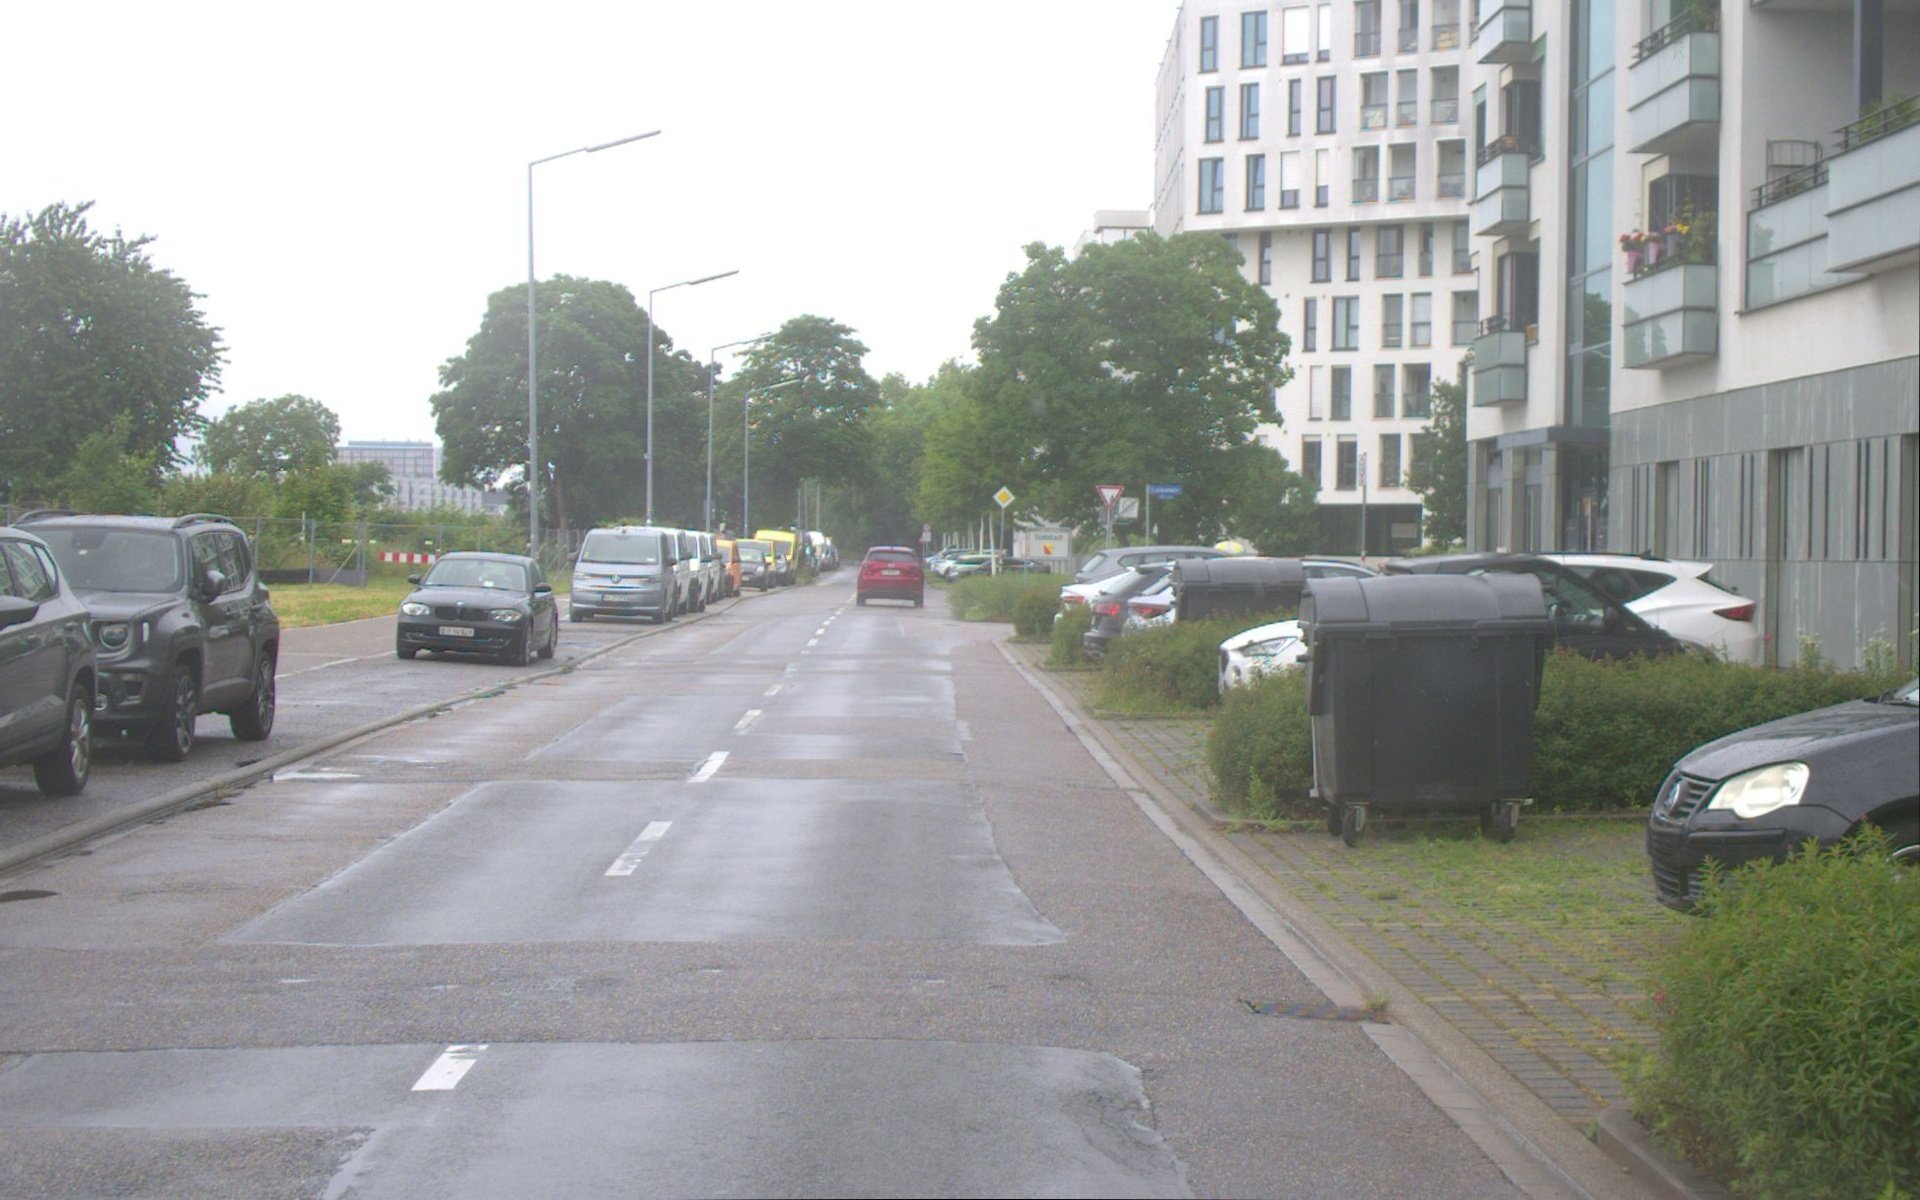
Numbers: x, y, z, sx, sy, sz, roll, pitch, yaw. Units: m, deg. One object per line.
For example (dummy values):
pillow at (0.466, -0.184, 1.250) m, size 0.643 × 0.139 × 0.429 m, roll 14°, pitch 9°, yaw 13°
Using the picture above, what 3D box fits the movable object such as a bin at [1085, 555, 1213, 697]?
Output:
movable object such as a bin at (2.076, 0.270, 38.033) m, size 1.300 × 1.521 × 1.582 m, roll 0°, pitch 1°, yaw -1°

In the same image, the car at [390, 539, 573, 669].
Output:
car at (-6.378, 0.017, 46.215) m, size 1.847 × 1.556 × 4.153 m, roll 4°, pitch 1°, yaw -1°

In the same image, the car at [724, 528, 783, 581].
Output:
car at (-8.203, -1.787, 136.914) m, size 2.017 × 1.950 × 6.065 m, roll 3°, pitch 0°, yaw -1°

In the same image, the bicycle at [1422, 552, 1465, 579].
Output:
bicycle at (19.359, -1.381, 137.620) m, size 0.724 × 1.029 × 2.068 m, roll 2°, pitch 1°, yaw 38°

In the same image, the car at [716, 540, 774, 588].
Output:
car at (-7.753, -1.310, 124.222) m, size 1.804 × 1.556 × 4.033 m, roll 4°, pitch 1°, yaw -1°

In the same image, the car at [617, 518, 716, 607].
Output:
car at (-7.176, -0.940, 84.405) m, size 1.959 × 2.051 × 5.274 m, roll 2°, pitch 1°, yaw -1°

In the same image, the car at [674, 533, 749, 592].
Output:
car at (-7.724, -1.181, 107.307) m, size 1.940 × 1.761 × 4.331 m, roll 1°, pitch 1°, yaw 1°

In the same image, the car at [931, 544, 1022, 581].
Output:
car at (0.834, -1.964, 179.348) m, size 4.538 × 1.679 × 1.886 m, roll -4°, pitch 1°, yaw -3°

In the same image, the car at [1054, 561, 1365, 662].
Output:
car at (3.653, 0.156, 50.890) m, size 4.409 × 1.400 × 1.911 m, roll -1°, pitch 1°, yaw -1°

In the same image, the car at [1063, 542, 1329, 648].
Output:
car at (3.790, -0.093, 55.787) m, size 4.089 × 1.618 × 1.966 m, roll -1°, pitch 1°, yaw -2°

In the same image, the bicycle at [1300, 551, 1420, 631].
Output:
bicycle at (7.686, -0.180, 66.089) m, size 2.190 × 1.517 × 0.630 m, roll 1°, pitch 1°, yaw 20°

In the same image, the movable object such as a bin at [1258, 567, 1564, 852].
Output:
movable object such as a bin at (2.468, 0.581, 19.017) m, size 1.495 × 1.488 × 1.156 m, roll -1°, pitch 1°, yaw -1°

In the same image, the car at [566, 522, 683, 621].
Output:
car at (-6.851, -0.597, 70.678) m, size 1.956 × 1.895 × 4.995 m, roll 2°, pitch 1°, yaw -1°

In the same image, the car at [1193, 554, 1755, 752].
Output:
car at (4.196, 0.413, 28.576) m, size 4.346 × 1.525 × 1.893 m, roll -1°, pitch 1°, yaw -1°

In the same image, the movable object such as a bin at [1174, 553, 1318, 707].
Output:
movable object such as a bin at (2.895, 0.288, 35.042) m, size 1.300 × 1.521 × 1.582 m, roll -1°, pitch 1°, yaw -1°

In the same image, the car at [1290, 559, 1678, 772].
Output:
car at (3.898, 0.465, 25.736) m, size 2.623 × 1.501 × 1.208 m, roll -1°, pitch 1°, yaw -7°

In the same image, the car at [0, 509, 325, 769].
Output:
car at (-6.073, 0.206, 25.208) m, size 1.753 × 1.687 × 4.880 m, roll 2°, pitch 1°, yaw 2°

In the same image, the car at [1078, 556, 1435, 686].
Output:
car at (3.486, 0.232, 41.038) m, size 4.060 × 1.491 × 2.058 m, roll 0°, pitch 1°, yaw 0°

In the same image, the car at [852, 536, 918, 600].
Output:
car at (-2.066, -0.892, 95.229) m, size 1.756 × 1.700 × 4.000 m, roll 1°, pitch 1°, yaw -1°

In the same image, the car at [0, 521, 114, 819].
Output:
car at (-6.003, 0.347, 18.822) m, size 1.752 × 1.585 × 4.134 m, roll 2°, pitch 1°, yaw -1°

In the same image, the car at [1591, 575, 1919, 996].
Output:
car at (4.530, 0.652, 13.305) m, size 3.845 × 1.486 × 1.763 m, roll -1°, pitch 1°, yaw 0°
